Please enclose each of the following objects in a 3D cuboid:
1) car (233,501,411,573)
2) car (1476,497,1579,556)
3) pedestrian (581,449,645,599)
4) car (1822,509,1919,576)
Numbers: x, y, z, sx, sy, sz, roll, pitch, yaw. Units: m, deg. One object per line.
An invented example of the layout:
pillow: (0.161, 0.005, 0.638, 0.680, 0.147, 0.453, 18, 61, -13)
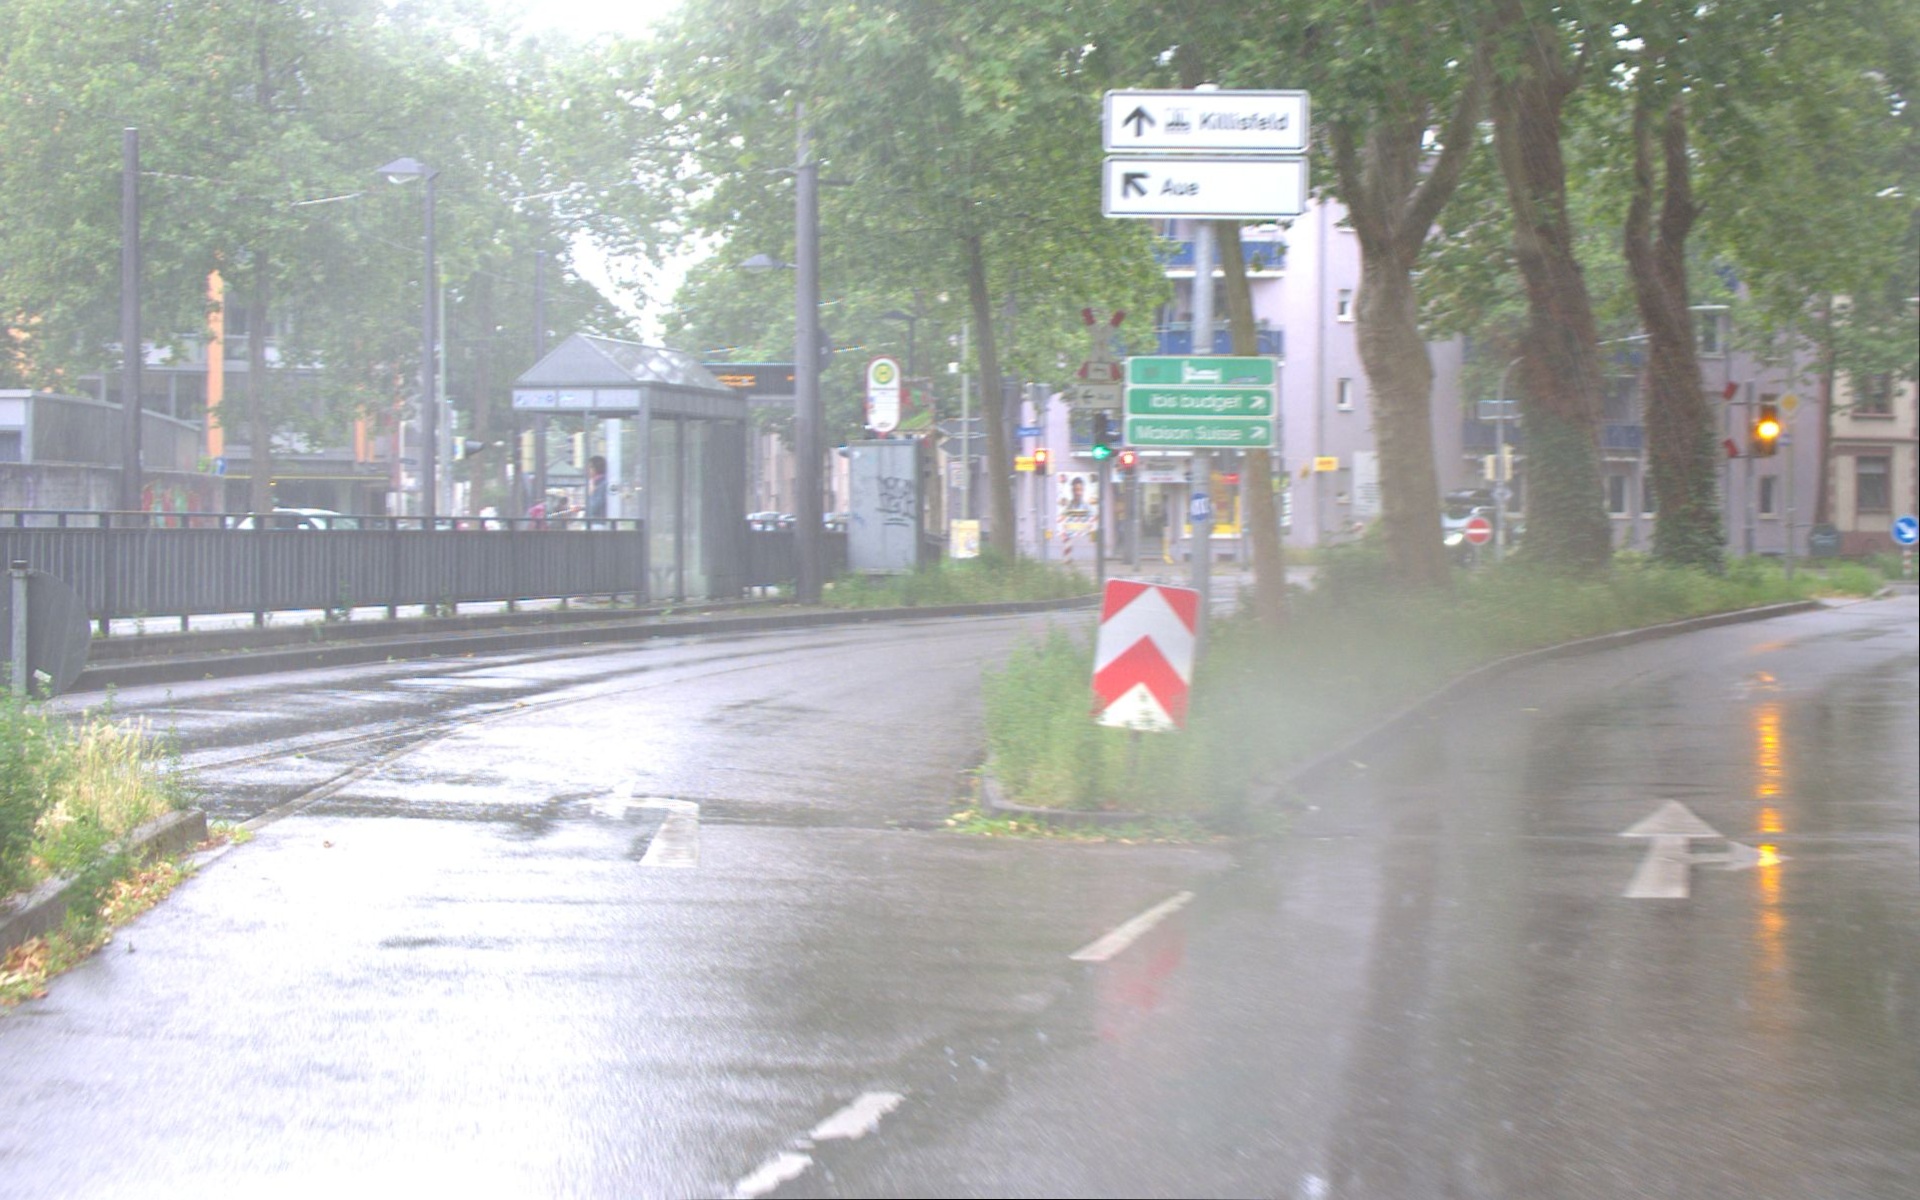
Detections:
car: (-15.575, -1.524, 83.839, 4.014, 1.646, 1.969, -1, 1, 34)
car: (15.767, -2.049, 95.395, 1.727, 1.547, 3.554, -1, 1, 28)
pedestrian: (-4.039, -0.888, 40.041, 0.581, 1.725, 0.568, -2, 1, -20)
car: (21.889, -1.346, 79.501, 3.485, 1.518, 1.517, -1, 1, 31)
